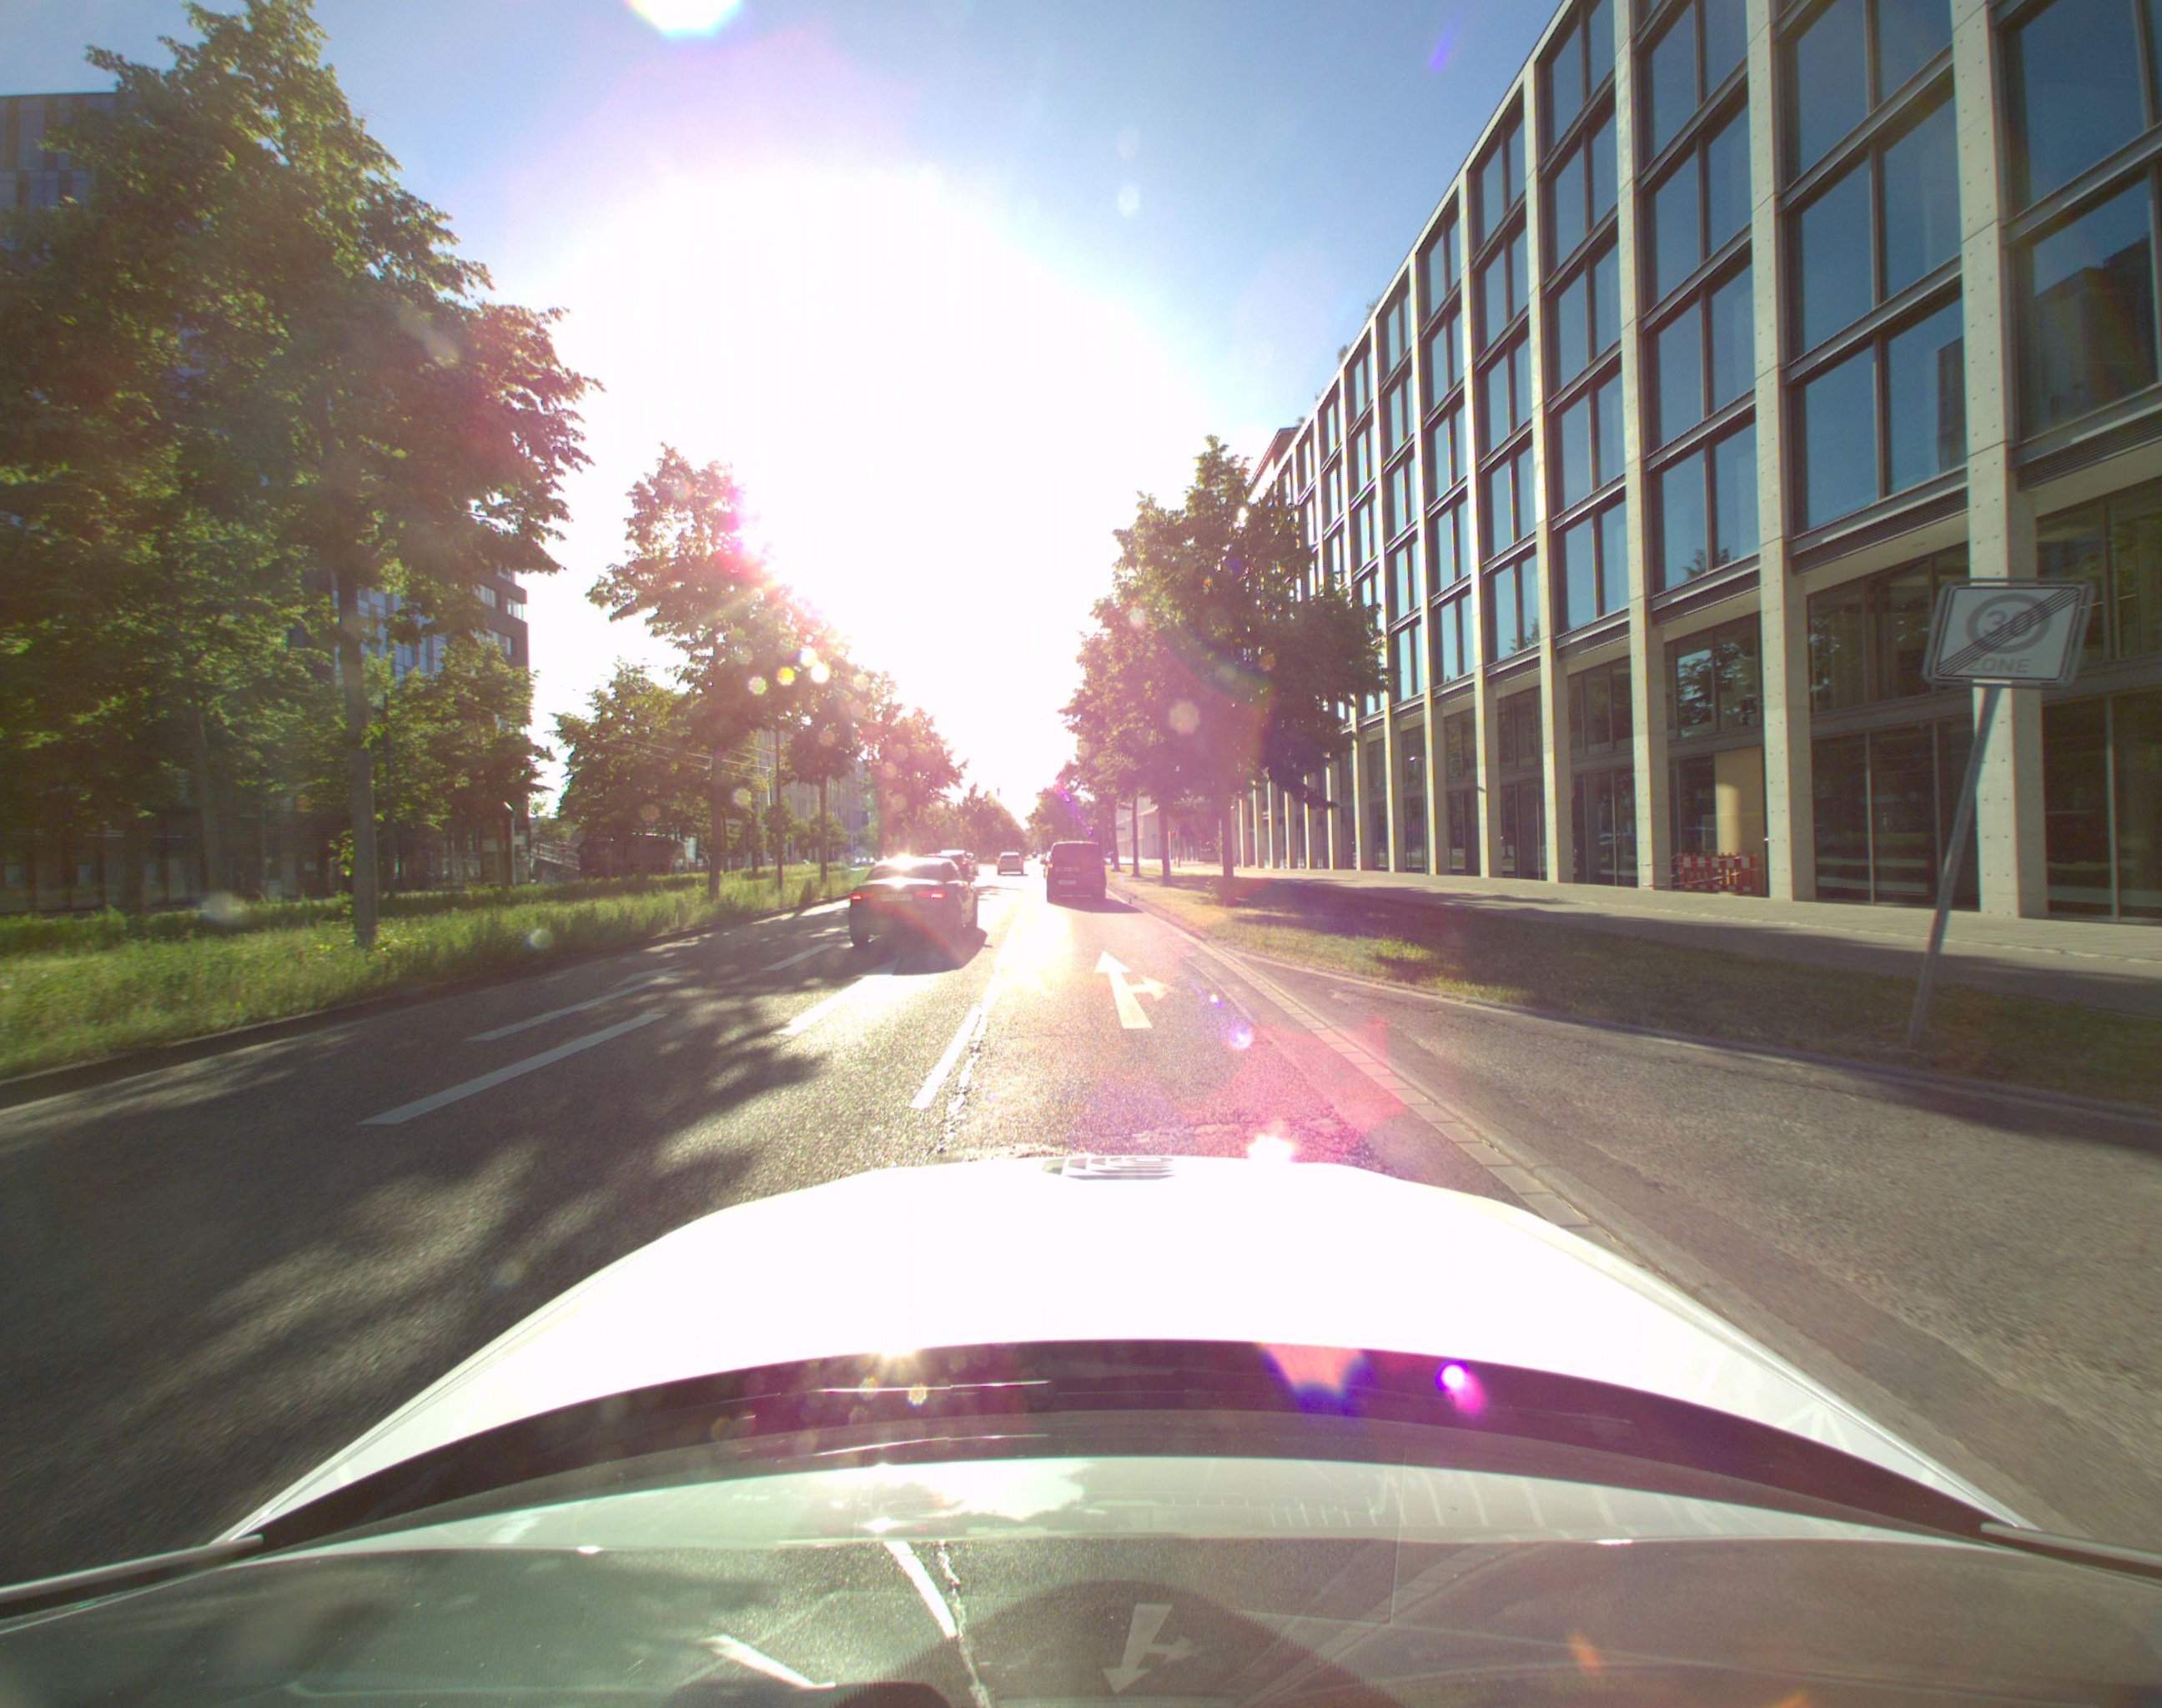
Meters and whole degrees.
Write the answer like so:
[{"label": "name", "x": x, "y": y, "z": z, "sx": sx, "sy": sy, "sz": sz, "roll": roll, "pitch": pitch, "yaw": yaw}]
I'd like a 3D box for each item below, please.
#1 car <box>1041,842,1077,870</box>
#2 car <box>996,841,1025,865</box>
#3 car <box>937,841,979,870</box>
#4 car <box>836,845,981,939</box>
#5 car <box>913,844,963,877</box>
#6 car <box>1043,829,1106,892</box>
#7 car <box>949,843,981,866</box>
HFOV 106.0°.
[{"label": "car", "x": -1.264, "y": 0.072, "z": 44.729, "sx": 1.719, "sy": 1.425, "sz": 3.809, "roll": 0, "pitch": 2, "yaw": -6}, {"label": "car", "x": -4.588, "y": -0.075, "z": 53.272, "sx": 1.717, "sy": 1.425, "sz": 3.812, "roll": -2, "pitch": 1, "yaw": -3}, {"label": "car", "x": -6.871, "y": 0.054, "z": 45.870, "sx": 1.838, "sy": 1.534, "sz": 3.938, "roll": -1, "pitch": 1, "yaw": -2}, {"label": "car", "x": -2.859, "y": 0.558, "z": 14.392, "sx": 1.716, "sy": 1.366, "sz": 4.144, "roll": -1, "pitch": 1, "yaw": -1}, {"label": "car", "x": -6.795, "y": 0.251, "z": 39.083, "sx": 1.939, "sy": 1.441, "sz": 3.994, "roll": -2, "pitch": 1, "yaw": -5}, {"label": "car", "x": -0.248, "y": 0.160, "z": 25.294, "sx": 1.793, "sy": 1.777, "sz": 3.997, "roll": 0, "pitch": 1, "yaw": -2}, {"label": "car", "x": -7.648, "y": 0.025, "z": 53.991, "sx": 1.711, "sy": 1.398, "sz": 3.997, "roll": -1, "pitch": 1, "yaw": -3}]
